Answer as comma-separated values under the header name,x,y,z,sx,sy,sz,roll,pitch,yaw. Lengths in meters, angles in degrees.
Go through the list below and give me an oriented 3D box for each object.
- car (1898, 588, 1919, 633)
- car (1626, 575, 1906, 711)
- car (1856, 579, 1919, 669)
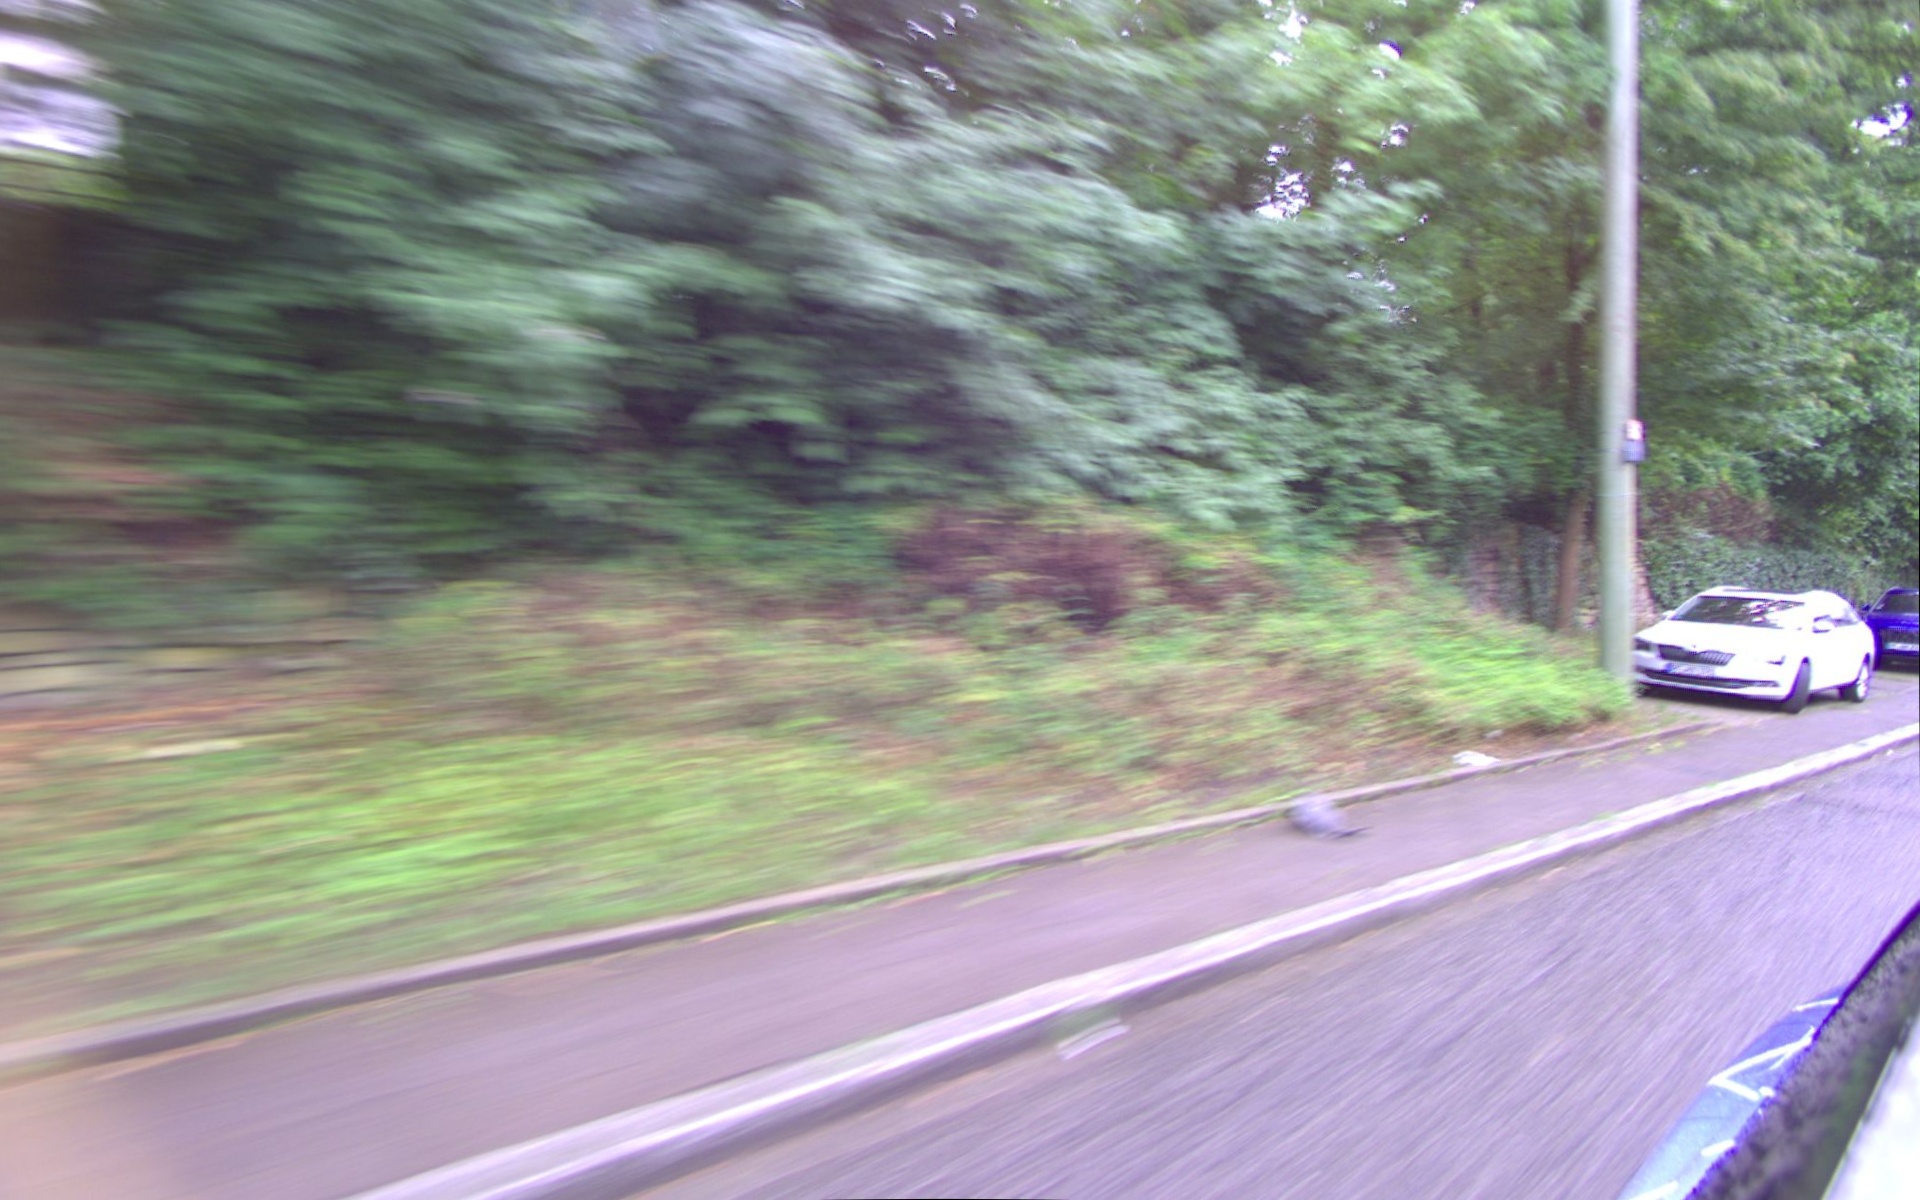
name,x,y,z,sx,sy,sz,roll,pitch,yaw
car,36.093,0.413,35.676,1.770,1.614,4.195,0,1,-36
car,11.060,0.491,13.776,4.651,1.495,1.745,0,3,-36
car,19.476,0.429,20.035,4.594,1.643,1.770,-1,2,-38
